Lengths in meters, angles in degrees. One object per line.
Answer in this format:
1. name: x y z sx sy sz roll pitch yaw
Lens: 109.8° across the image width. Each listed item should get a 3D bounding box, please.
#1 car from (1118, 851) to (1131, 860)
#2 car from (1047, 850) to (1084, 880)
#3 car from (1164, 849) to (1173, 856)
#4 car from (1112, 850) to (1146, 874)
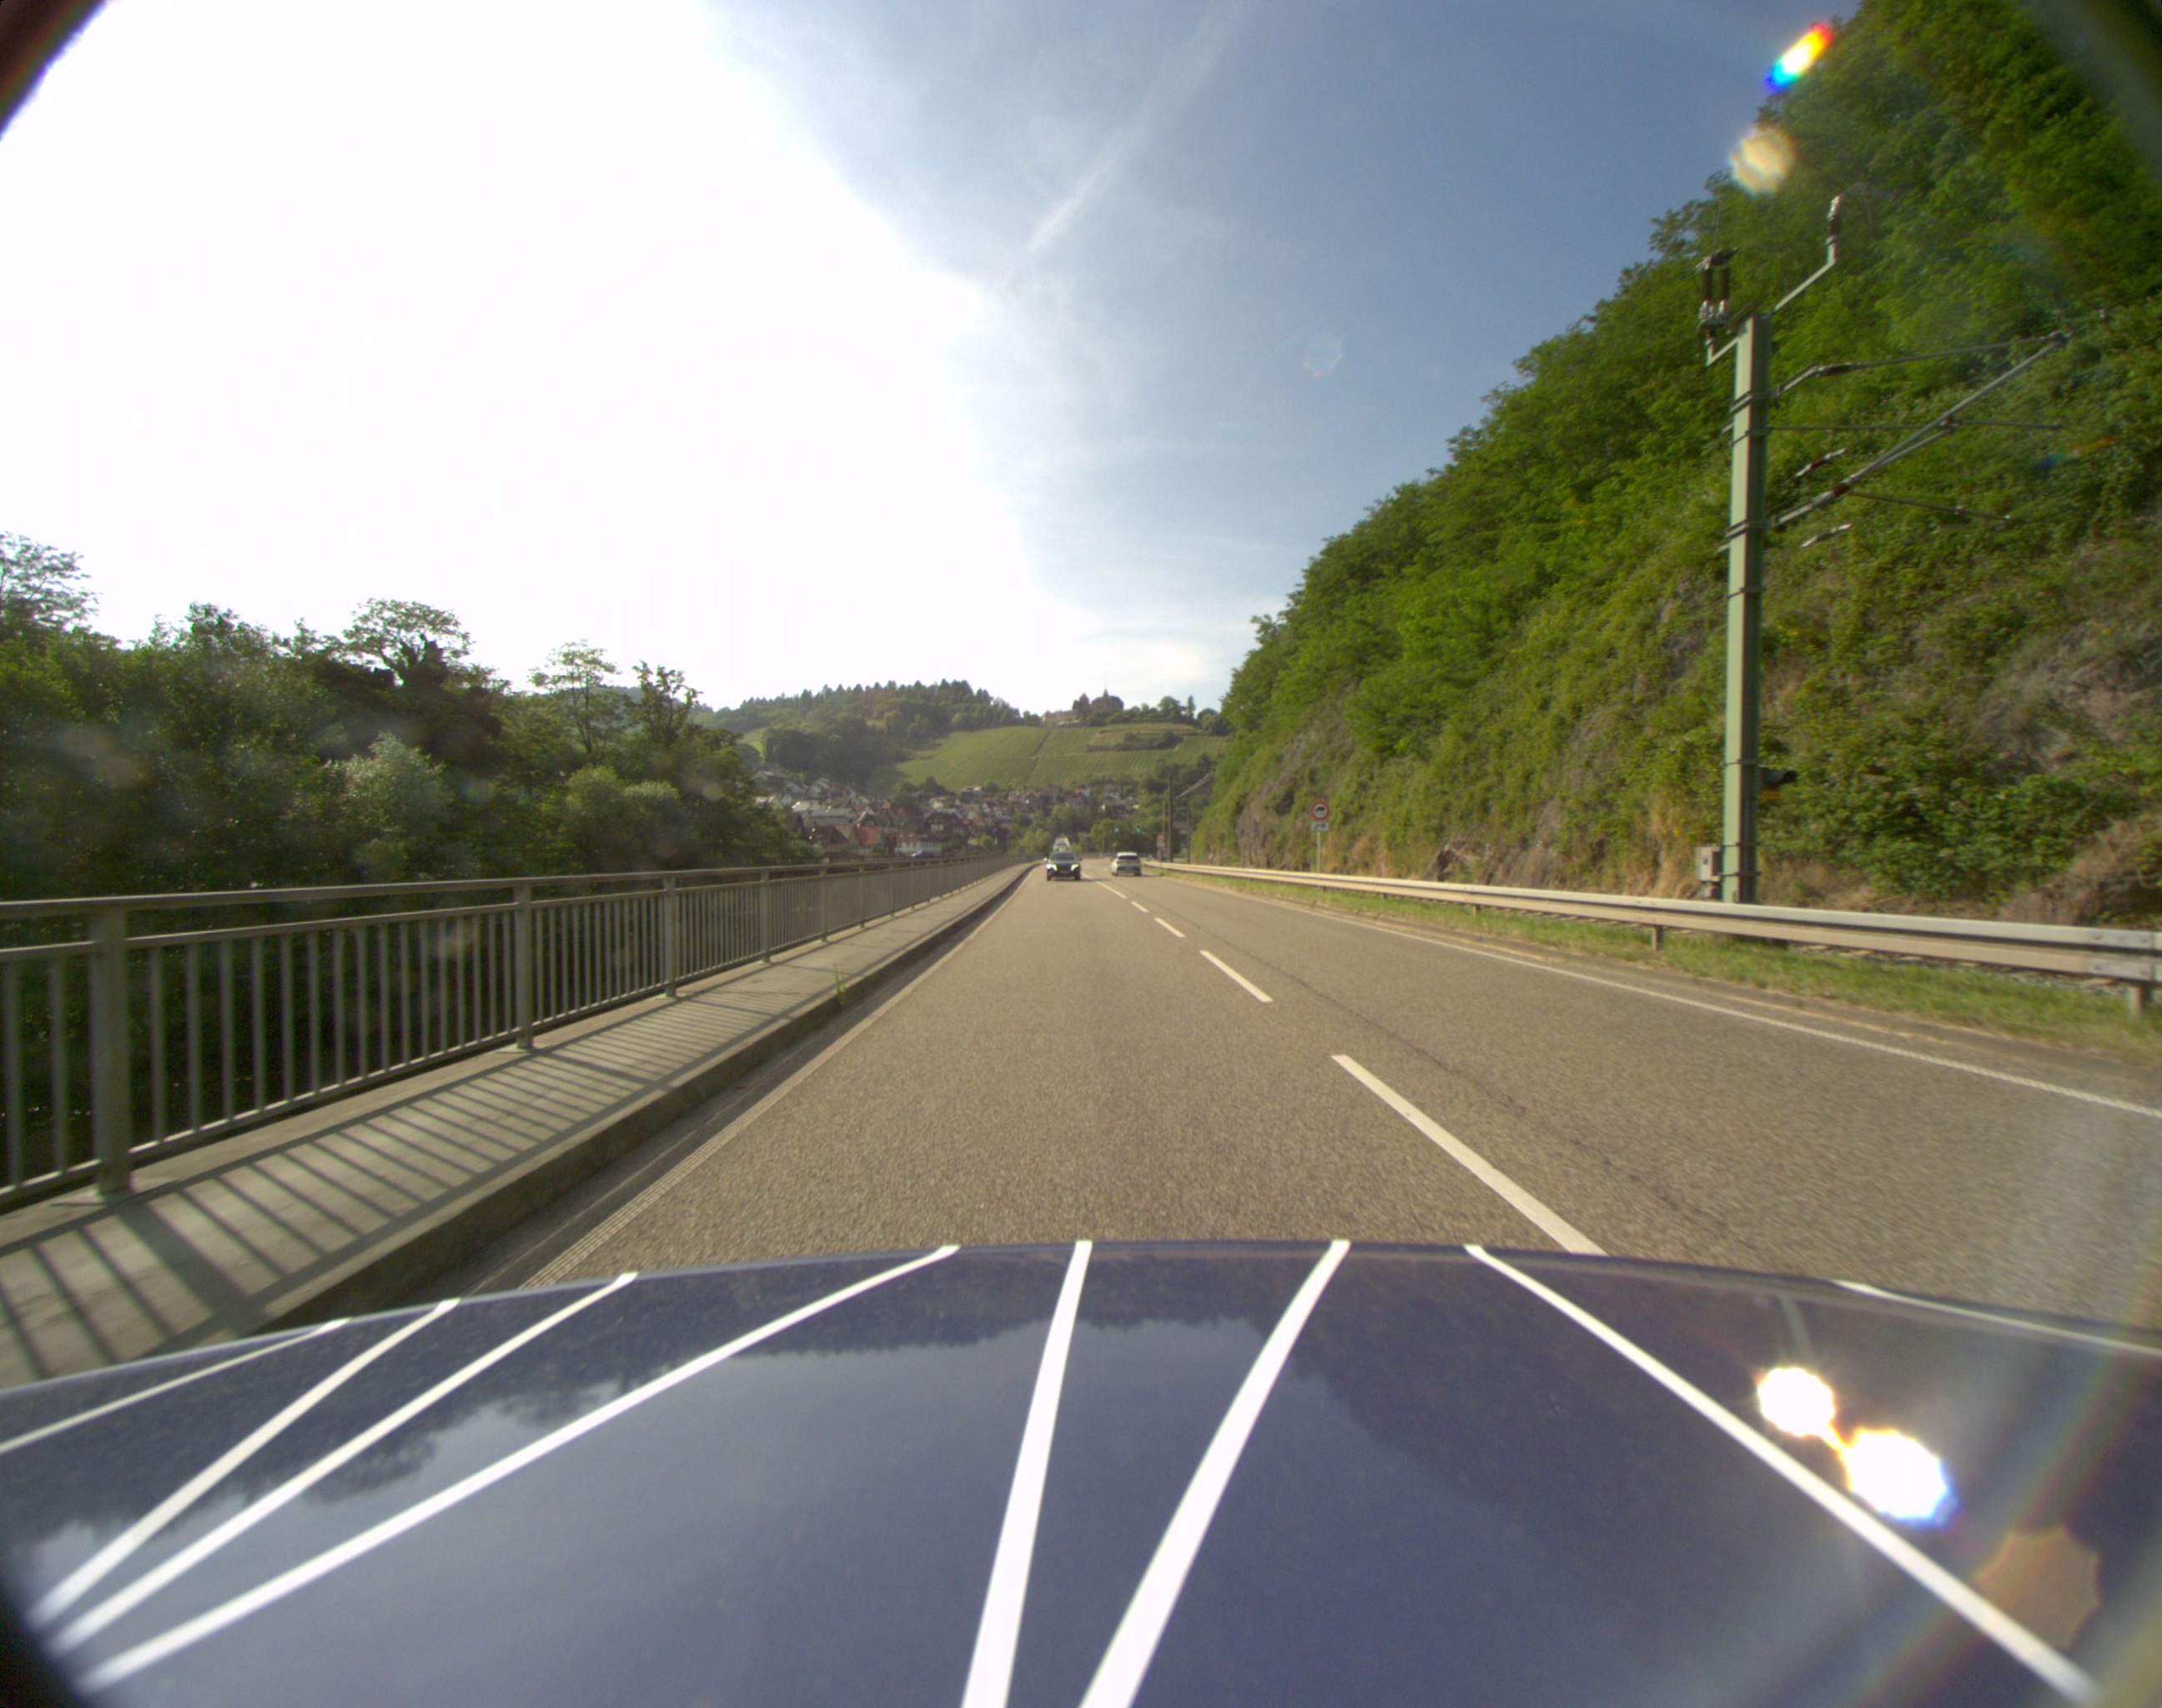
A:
1. car: 7.703 0.233 134.815 2.068 1.431 4.686 0 0 2
2. car: -0.922 0.586 42.969 1.864 1.576 3.998 1 0 -4
3. car: 21.499 -0.467 186.402 1.721 1.561 4.138 -1 1 13
4. car: 3.148 0.501 50.879 1.852 1.535 4.603 -1 0 -2
